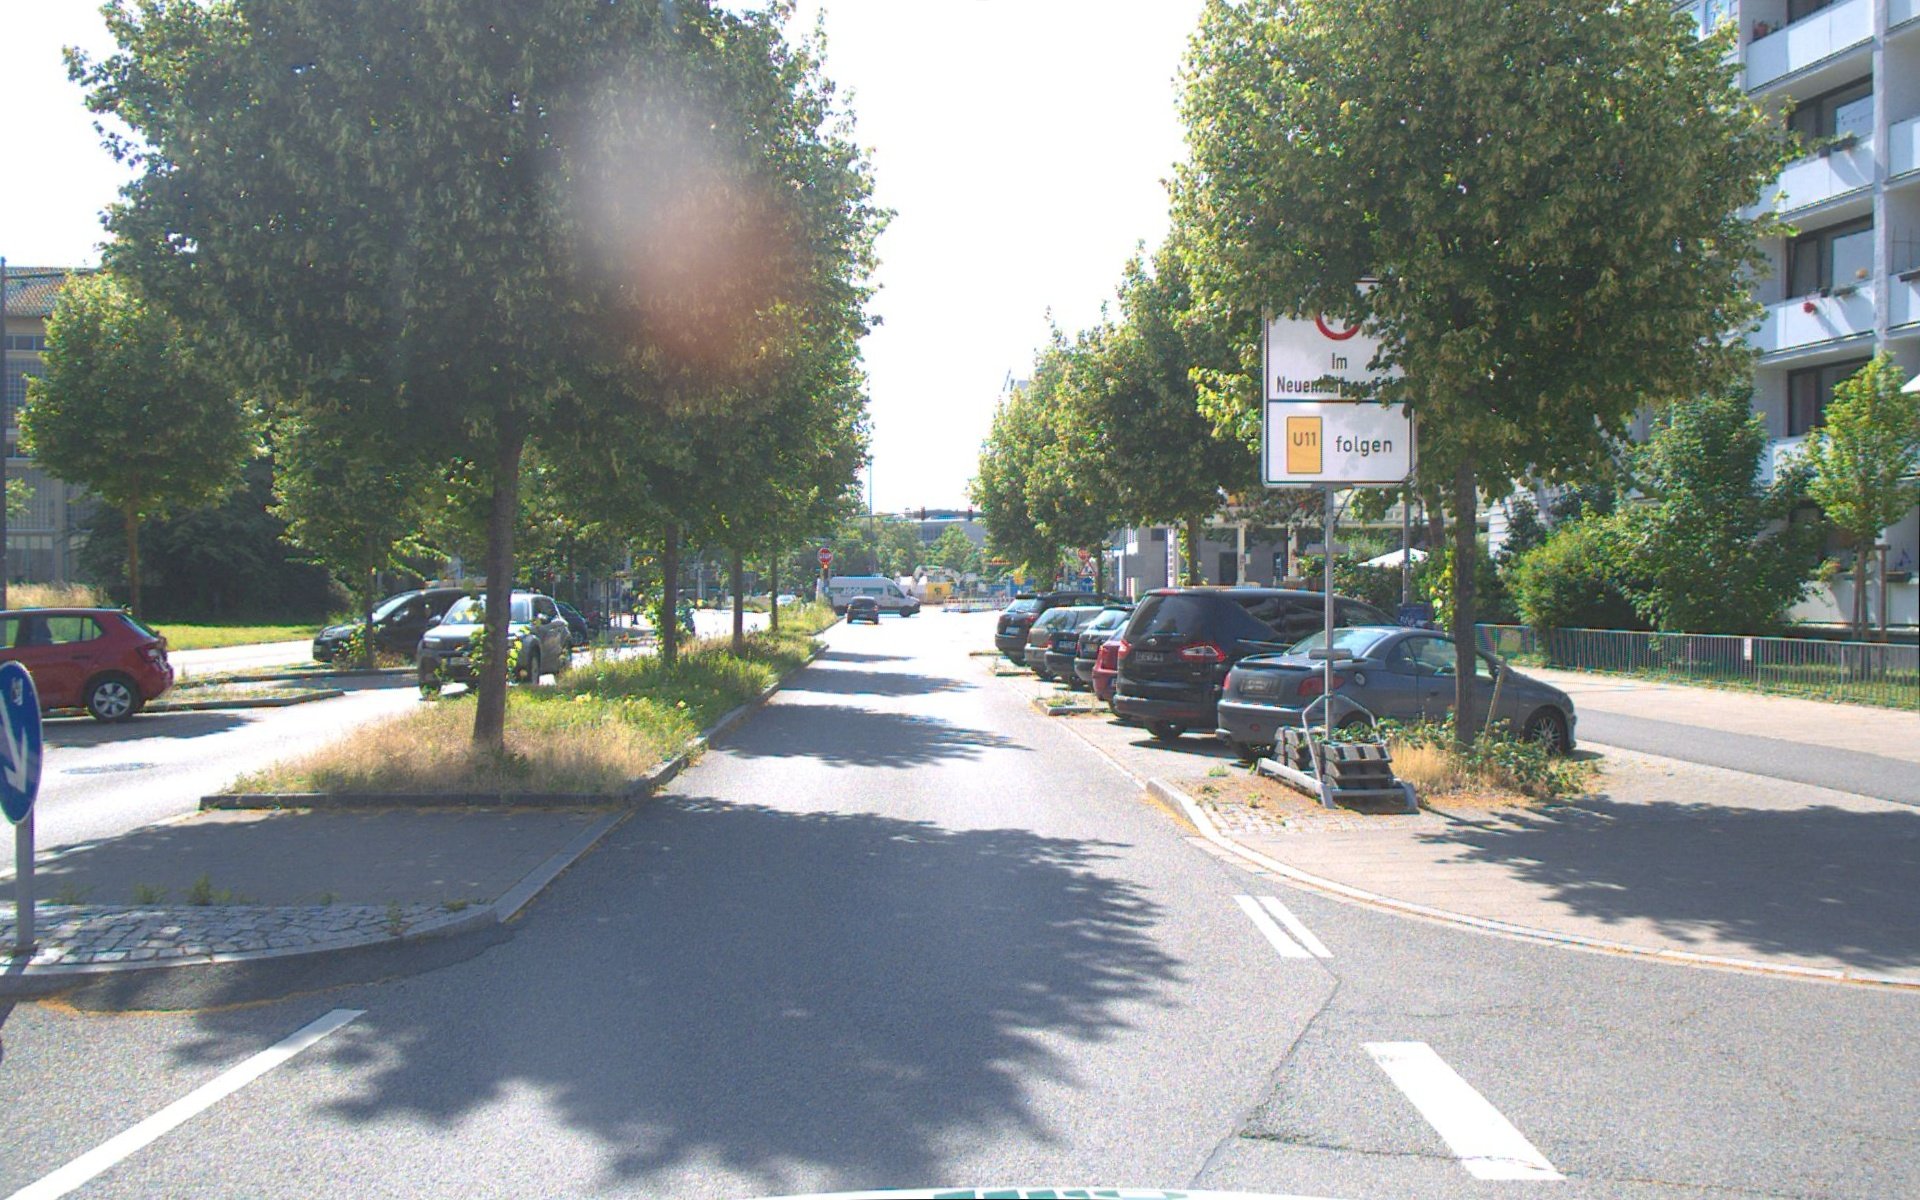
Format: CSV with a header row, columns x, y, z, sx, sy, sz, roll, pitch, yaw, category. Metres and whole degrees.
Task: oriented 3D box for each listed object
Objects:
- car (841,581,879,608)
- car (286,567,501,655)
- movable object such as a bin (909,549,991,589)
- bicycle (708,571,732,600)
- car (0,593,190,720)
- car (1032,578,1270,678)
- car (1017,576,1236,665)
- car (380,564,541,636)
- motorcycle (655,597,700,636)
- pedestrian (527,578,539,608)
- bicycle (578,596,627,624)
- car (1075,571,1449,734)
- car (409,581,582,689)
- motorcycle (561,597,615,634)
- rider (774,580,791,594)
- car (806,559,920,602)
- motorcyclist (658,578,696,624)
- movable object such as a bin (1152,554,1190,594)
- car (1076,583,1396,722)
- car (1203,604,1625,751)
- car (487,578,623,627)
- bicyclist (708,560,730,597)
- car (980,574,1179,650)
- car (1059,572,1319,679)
x,y,z,sx,sy,sz,roll,pitch,yaw,category
-5.481,-0.300,90.102,1.955,1.422,3.995,0,0,-6,car
-12.704,0.196,37.213,4.150,1.848,1.975,-1,1,-41,car
-1.136,-3.590,192.640,9.478,4.629,3.163,0,0,-1,movable object such as a bin
-19.917,-1.201,137.245,1.567,2.308,3.998,0,0,-2,bicycle
-12.153,0.712,21.303,3.934,1.492,1.986,-2,1,-24,car
3.414,0.448,29.563,3.935,1.668,1.740,0,1,-25,car
3.233,0.374,32.316,3.920,1.668,1.746,0,0,-15,car
-13.033,-0.009,43.167,3.723,1.803,1.801,0,0,-30,car
-7.778,0.440,45.576,0.904,1.010,2.234,0,0,-1,motorcycle
-25.529,-0.406,98.890,0.649,1.756,0.749,0,0,-20,pedestrian
-14.438,0.405,66.799,1.808,1.142,0.693,0,0,-2,bicycle
3.504,0.522,18.949,4.074,1.668,2.019,0,0,-36,car
-7.413,0.510,26.760,1.706,1.574,4.072,-1,0,-2,car
-13.329,0.552,59.286,1.811,1.307,0.691,0,0,-9,motorcycle
-15.527,-1.156,144.682,1.364,1.216,2.695,0,0,-5,rider
-6.357,-1.276,107.827,7.285,2.721,2.899,0,1,-6,car
-7.777,0.028,45.448,0.882,1.242,1.061,0,0,-2,motorcyclist
9.036,-1.119,70.852,1.282,1.620,1.394,-2,0,-5,movable object such as a bin
3.668,0.646,21.824,3.949,1.669,1.859,0,-1,-33,car
4.497,0.687,16.290,3.942,1.258,1.737,0,0,-29,car
-12.636,0.059,51.732,3.744,1.448,1.827,-1,2,-43,car
-19.880,-1.753,136.439,1.567,2.982,2.352,0,0,-3,bicyclist
2.837,0.253,38.666,4.694,1.689,1.730,0,0,-37,car
3.784,0.391,27.388,3.931,1.668,1.789,0,0,-22,car
